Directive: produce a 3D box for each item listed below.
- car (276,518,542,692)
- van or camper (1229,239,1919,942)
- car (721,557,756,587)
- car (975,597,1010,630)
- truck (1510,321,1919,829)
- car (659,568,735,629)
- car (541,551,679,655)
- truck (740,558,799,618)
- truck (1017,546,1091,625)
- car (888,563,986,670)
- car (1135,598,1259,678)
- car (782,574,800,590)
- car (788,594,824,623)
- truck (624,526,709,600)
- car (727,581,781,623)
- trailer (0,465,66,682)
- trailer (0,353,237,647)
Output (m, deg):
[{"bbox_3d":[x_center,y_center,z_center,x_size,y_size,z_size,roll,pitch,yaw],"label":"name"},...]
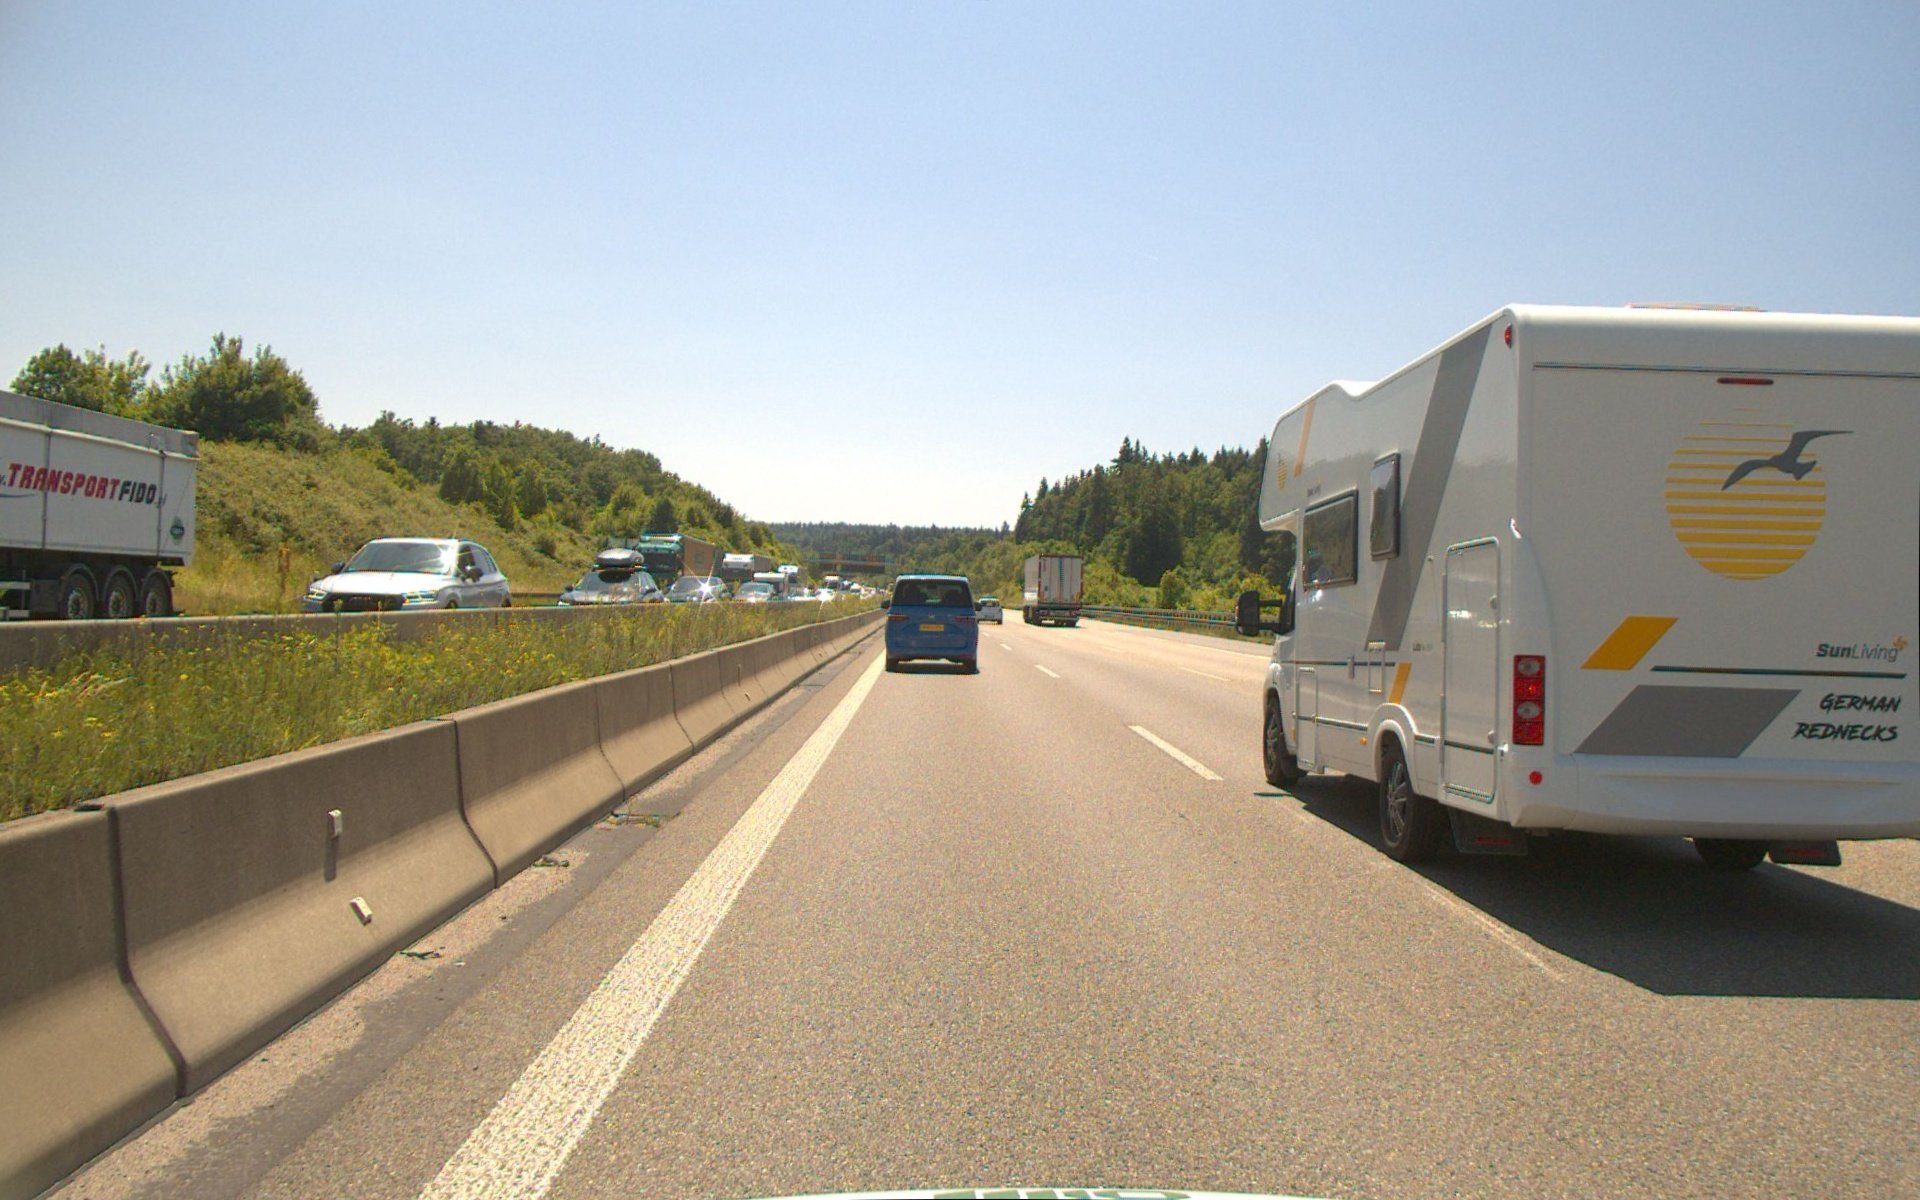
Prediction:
[{"bbox_3d":[-7.602,0.064,23.453,1.953,2.048,5.162,4,0,-1],"label":"car"},{"bbox_3d":[3.749,-0.041,11.089,2.550,3.132,7.180,2,0,-1],"label":"van or camper"},{"bbox_3d":[-17.428,-2.154,130.296,2.044,2.099,5.058,4,0,-1],"label":"car"},{"bbox_3d":[1.920,0.787,98.938,1.781,1.825,3.893,4,0,-1],"label":"car"},{"bbox_3d":[8.252,-0.327,15.964,2.868,3.636,8.526,1,2,-1],"label":"truck"},{"bbox_3d":[-8.493,-0.040,53.759,1.752,1.783,3.999,4,0,-1],"label":"car"},{"bbox_3d":[-7.851,0.075,37.613,1.953,2.048,5.162,4,0,-1],"label":"car"},{"bbox_3d":[-13.534,-0.819,118.460,2.932,3.868,12.158,4,0,-2],"label":"truck"},{"bbox_3d":[5.470,-0.820,97.830,3.417,4.242,8.639,4,0,-1],"label":"truck"},{"bbox_3d":[-0.488,0.323,34.239,1.870,2.049,3.999,1,0,-1],"label":"car"},{"bbox_3d":[4.846,0.744,34.302,1.870,1.500,3.999,2,0,-1],"label":"car"},{"bbox_3d":[-18.574,-1.978,182.042,1.571,1.495,3.896,4,0,-1],"label":"car"},{"bbox_3d":[-9.290,0.499,99.958,1.752,1.573,3.999,4,0,-1],"label":"car"},{"bbox_3d":[-17.004,-2.040,96.811,2.932,3.868,12.158,4,0,-2],"label":"truck"},{"bbox_3d":[-8.728,0.082,70.432,1.752,1.573,3.999,4,0,-1],"label":"car"},{"bbox_3d":[-10.968,-0.351,15.692,2.047,2.248,5.162,4,0,-1],"label":"trailer"},{"bbox_3d":[-15.381,-1.494,25.451,3.506,4.164,11.535,2,1,-1],"label":"trailer"}]
